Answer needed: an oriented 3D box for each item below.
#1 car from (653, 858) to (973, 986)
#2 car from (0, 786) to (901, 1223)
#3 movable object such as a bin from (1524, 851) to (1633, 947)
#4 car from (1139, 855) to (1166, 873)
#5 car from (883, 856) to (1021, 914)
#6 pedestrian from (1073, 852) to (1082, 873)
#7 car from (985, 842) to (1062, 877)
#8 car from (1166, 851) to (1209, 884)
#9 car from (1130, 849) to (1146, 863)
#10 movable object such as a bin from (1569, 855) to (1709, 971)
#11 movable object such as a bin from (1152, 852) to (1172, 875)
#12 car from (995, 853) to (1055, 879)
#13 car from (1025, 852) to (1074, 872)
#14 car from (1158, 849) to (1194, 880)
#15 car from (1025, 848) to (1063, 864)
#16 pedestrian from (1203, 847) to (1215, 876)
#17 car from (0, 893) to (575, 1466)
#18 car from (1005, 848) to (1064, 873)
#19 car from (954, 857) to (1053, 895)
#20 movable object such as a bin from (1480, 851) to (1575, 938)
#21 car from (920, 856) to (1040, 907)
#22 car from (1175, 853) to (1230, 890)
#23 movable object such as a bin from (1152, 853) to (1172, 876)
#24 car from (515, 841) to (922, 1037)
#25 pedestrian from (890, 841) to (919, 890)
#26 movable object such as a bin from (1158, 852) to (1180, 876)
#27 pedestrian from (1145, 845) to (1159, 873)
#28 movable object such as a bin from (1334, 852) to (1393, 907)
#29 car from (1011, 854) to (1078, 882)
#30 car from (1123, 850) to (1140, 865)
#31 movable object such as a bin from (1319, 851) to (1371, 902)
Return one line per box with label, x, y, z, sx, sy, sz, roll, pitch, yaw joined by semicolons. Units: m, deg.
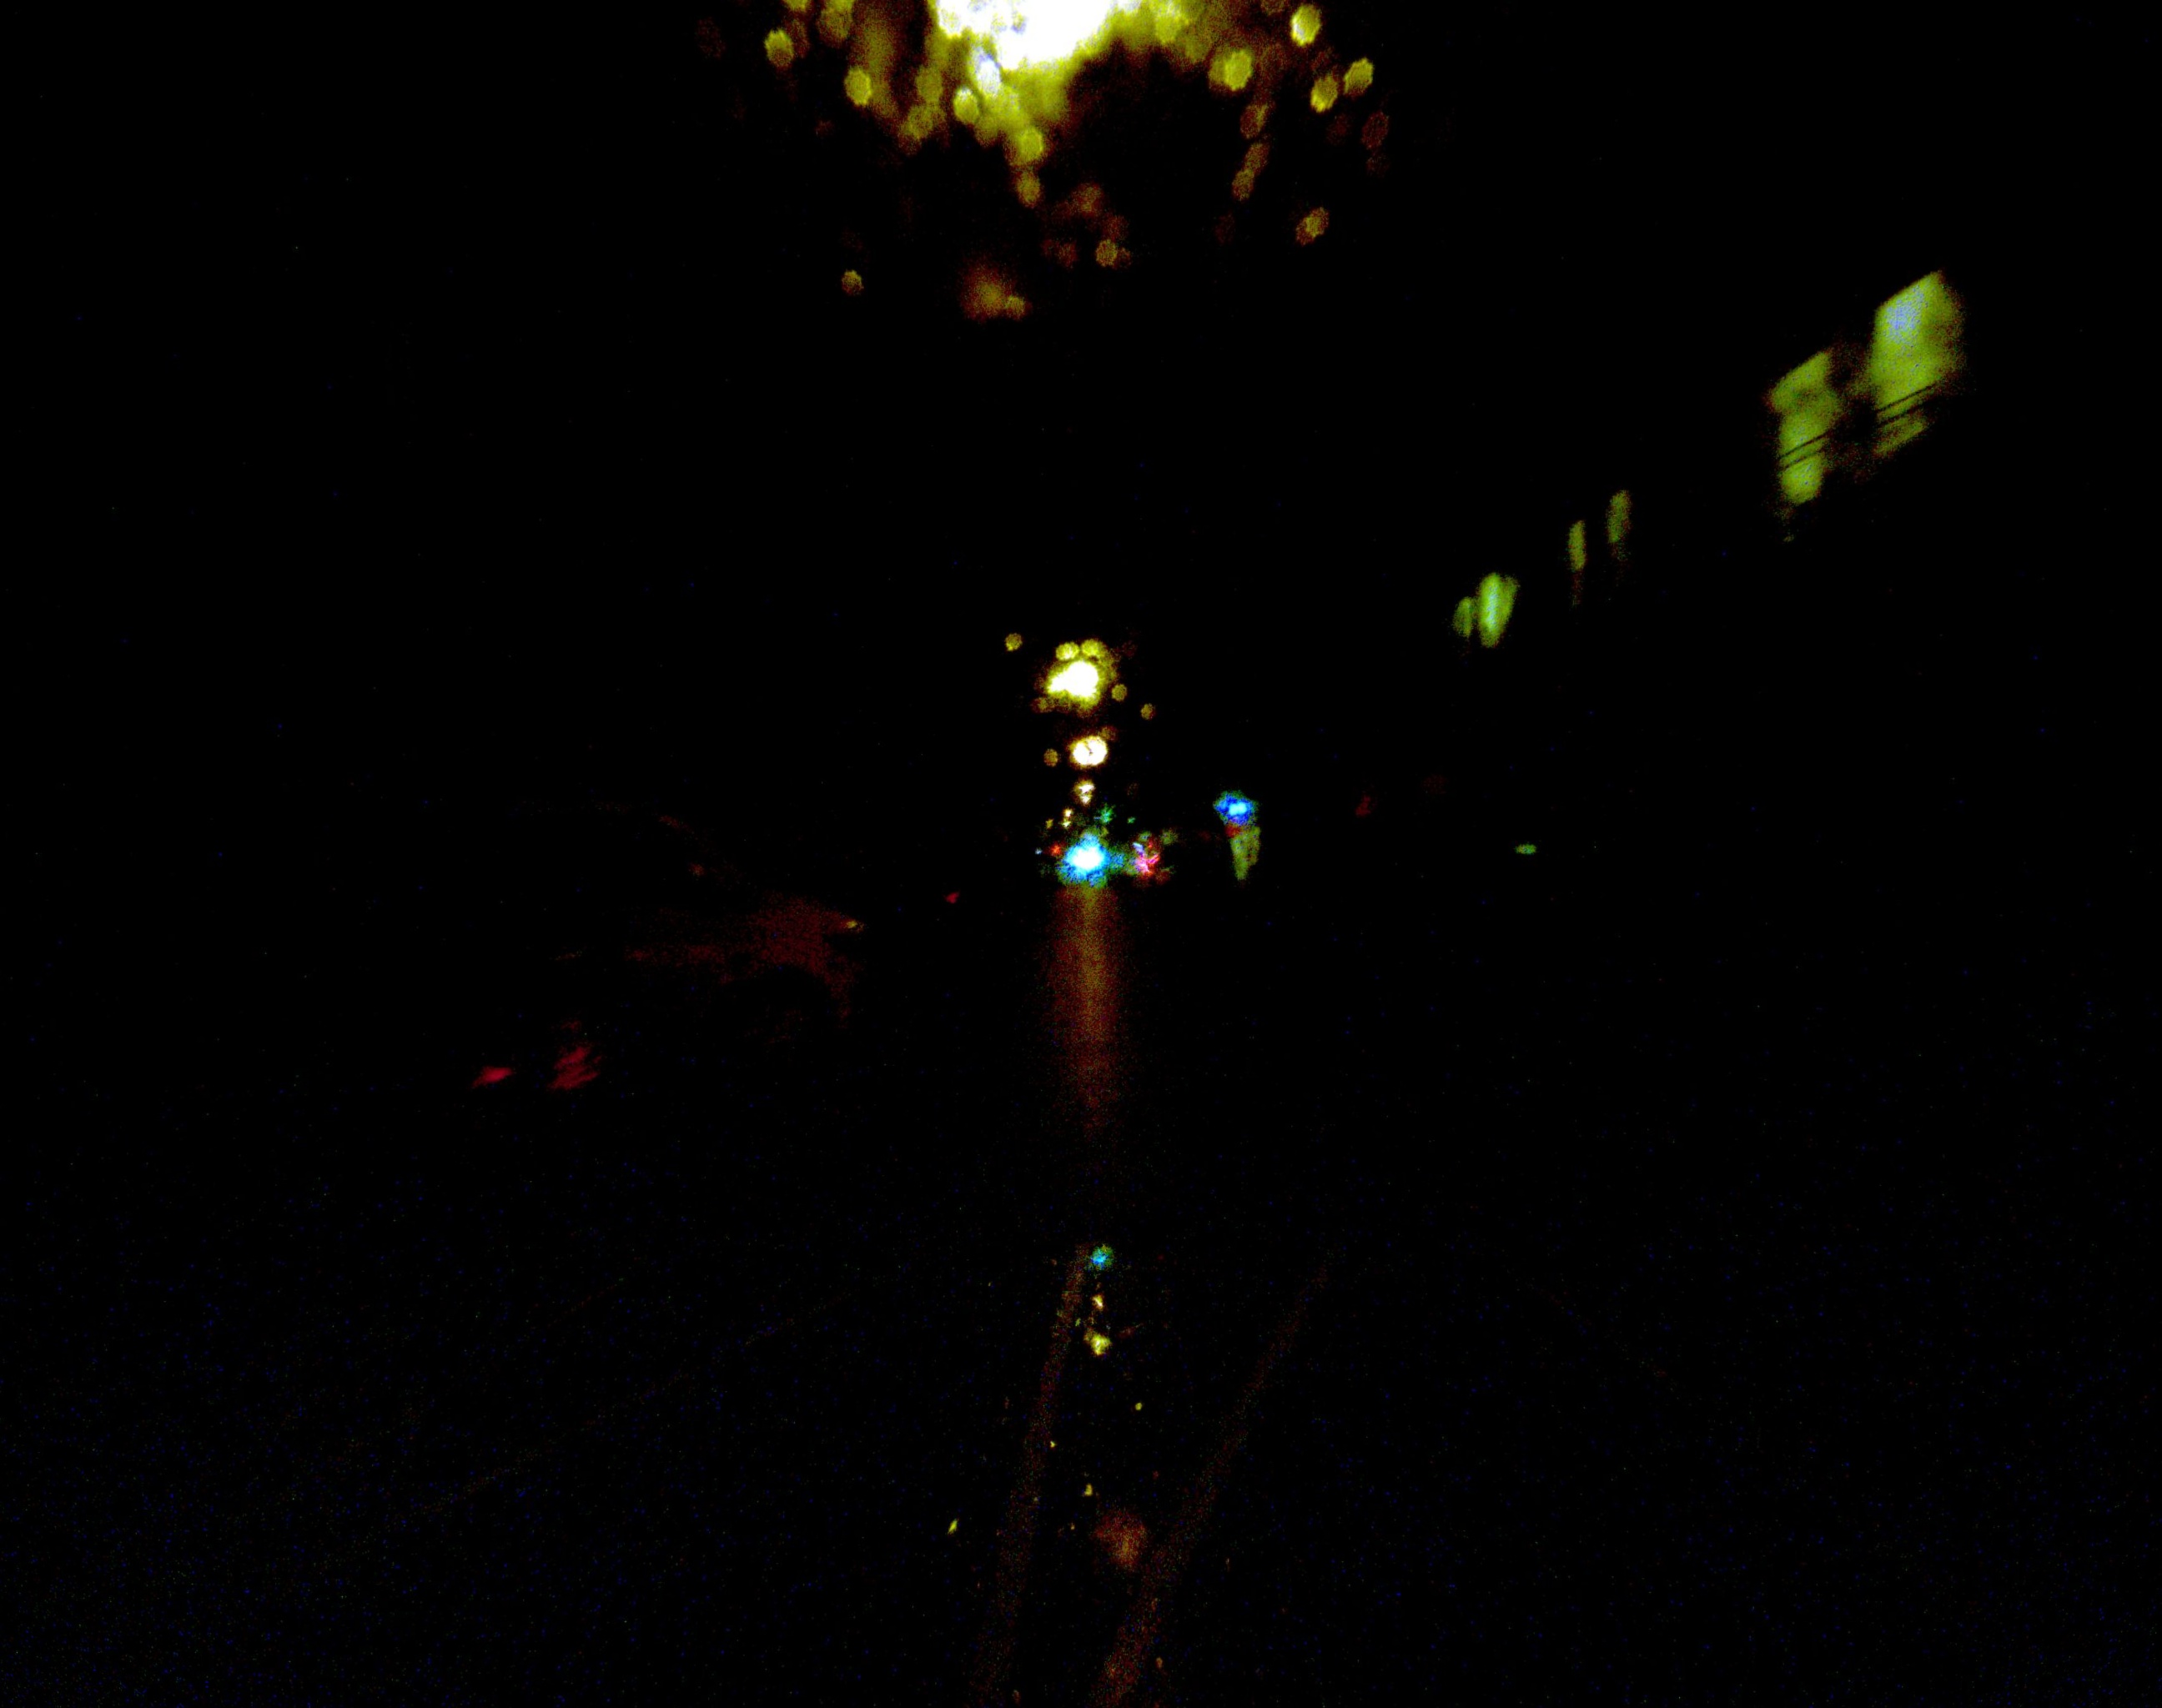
car;-3.737;0.850;10.742;4.007;1.484;1.730;1;1;-30
car;-3.947;0.696;5.358;4.807;2.037;2.062;-1;0;-30
movable object such as a bin;7.811;0.681;11.991;0.977;1.411;1.133;-2;0;3
car;5.439;0.741;58.297;1.658;1.351;4.222;-1;0;0
car;-3.771;0.876;22.330;3.660;1.571;1.589;1;-1;-33
pedestrian;-0.292;0.710;63.924;0.824;1.760;1.177;0;0;0
car;-3.790;0.344;50.413;4.734;2.235;1.941;0;1;-35
car;5.330;0.665;38.451;1.607;1.543;4.025;-2;0;0
car;6.313;0.169;84.119;1.550;1.434;3.563;-2;0;1
movable object such as a bin;7.270;0.738;9.971;0.977;1.390;1.133;-2;0;3
movable object such as a bin;5.394;0.648;50.427;1.211;1.451;1.107;-2;1;3
car;-3.464;0.728;47.531;3.407;1.533;1.573;0;1;-35
car;-2.957;0.756;70.571;4.112;1.754;1.855;-2;0;-27
car;5.511;0.572;44.380;1.607;1.696;3.721;-1;0;0
car;-5.297;0.272;108.488;4.951;2.327;2.226;0;0;-34
pedestrian;7.892;0.435;46.859;0.641;1.771;0.549;0;1;1
car;-3.787;0.923;2.430;3.521;1.486;1.447;1;1;-31
car;-3.622;0.518;59.345;4.256;1.848;1.712;1;1;-35
car;-3.171;0.867;31.293;3.691;1.452;1.600;1;1;-34
movable object such as a bin;7.723;0.674;13.204;0.977;1.411;1.133;-2;0;3
car;-3.342;0.866;25.479;3.660;1.571;1.588;-1;0;-38
car;5.181;0.731;32.990;1.690;1.447;4.315;-2;0;0
movable object such as a bin;5.268;0.663;49.254;1.167;1.451;1.107;-2;1;3
car;-3.707;0.762;8.153;3.571;1.701;1.642;1;1;-28
pedestrian;-6.839;0.452;29.491;0.871;1.845;0.993;1;0;-2
movable object such as a bin;5.525;0.626;47.846;1.265;1.451;1.151;-2;1;3
pedestrian;5.004;0.347;53.689;0.645;2.001;0.676;2;0;-30
movable object such as a bin;7.677;0.668;20.742;1.143;1.411;1.248;-2;0;3
car;-2.137;0.802;44.866;3.659;1.533;1.556;0;1;-29
car;6.171;0.430;93.636;1.871;1.835;4.827;0;0;1
movable object such as a bin;7.739;0.653;22.336;1.143;1.411;1.154;-2;0;3
